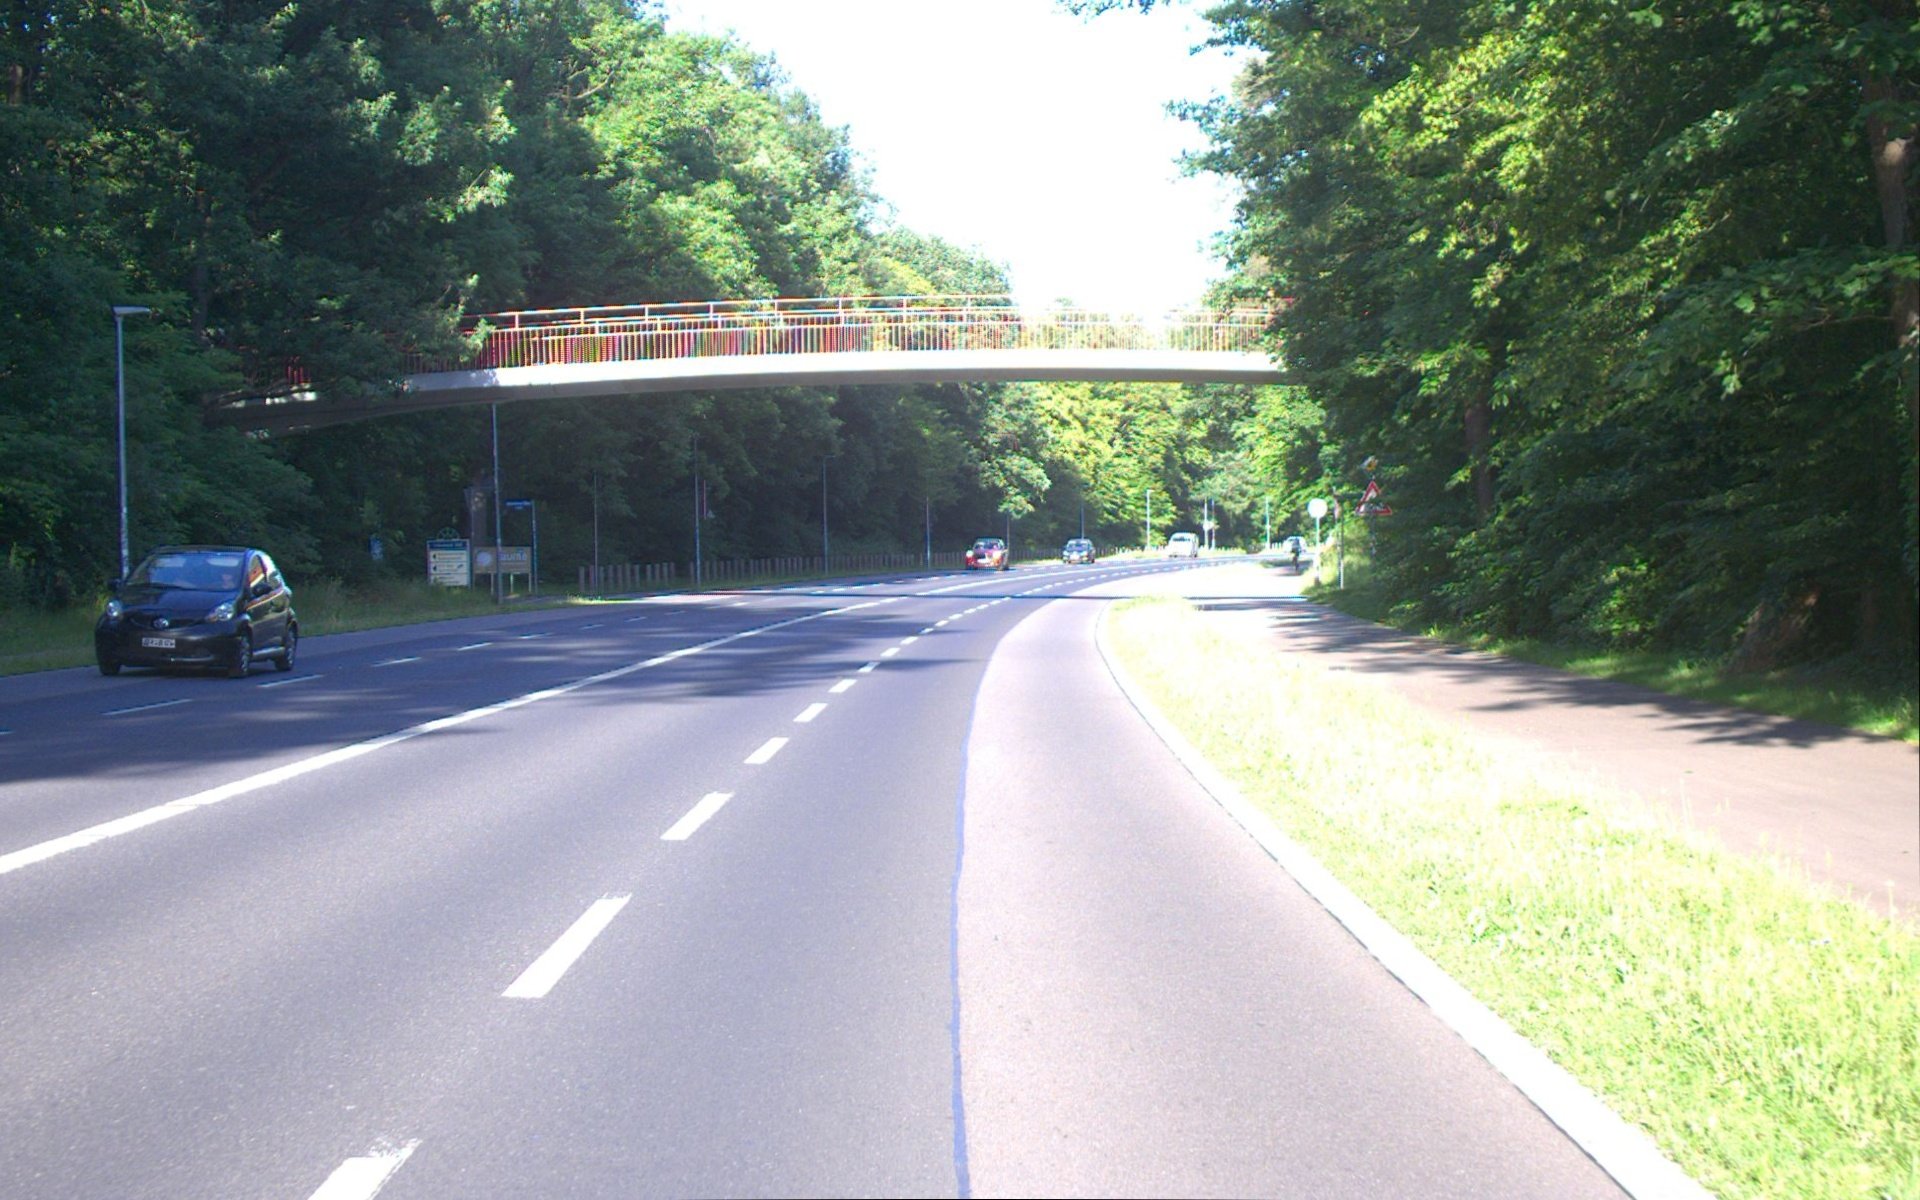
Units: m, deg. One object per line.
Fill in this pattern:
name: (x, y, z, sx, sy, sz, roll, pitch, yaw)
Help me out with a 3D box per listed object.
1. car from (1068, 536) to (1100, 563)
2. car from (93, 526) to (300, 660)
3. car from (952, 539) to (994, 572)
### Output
car: (7.579, -3.099, 209.533, 1.723, 1.568, 4.177, 2, 1, 5)
car: (-8.542, -0.108, 38.709, 1.495, 1.439, 3.500, 0, 1, 1)
car: (0.651, -2.236, 171.091, 1.762, 1.577, 4.168, 1, 1, 4)
